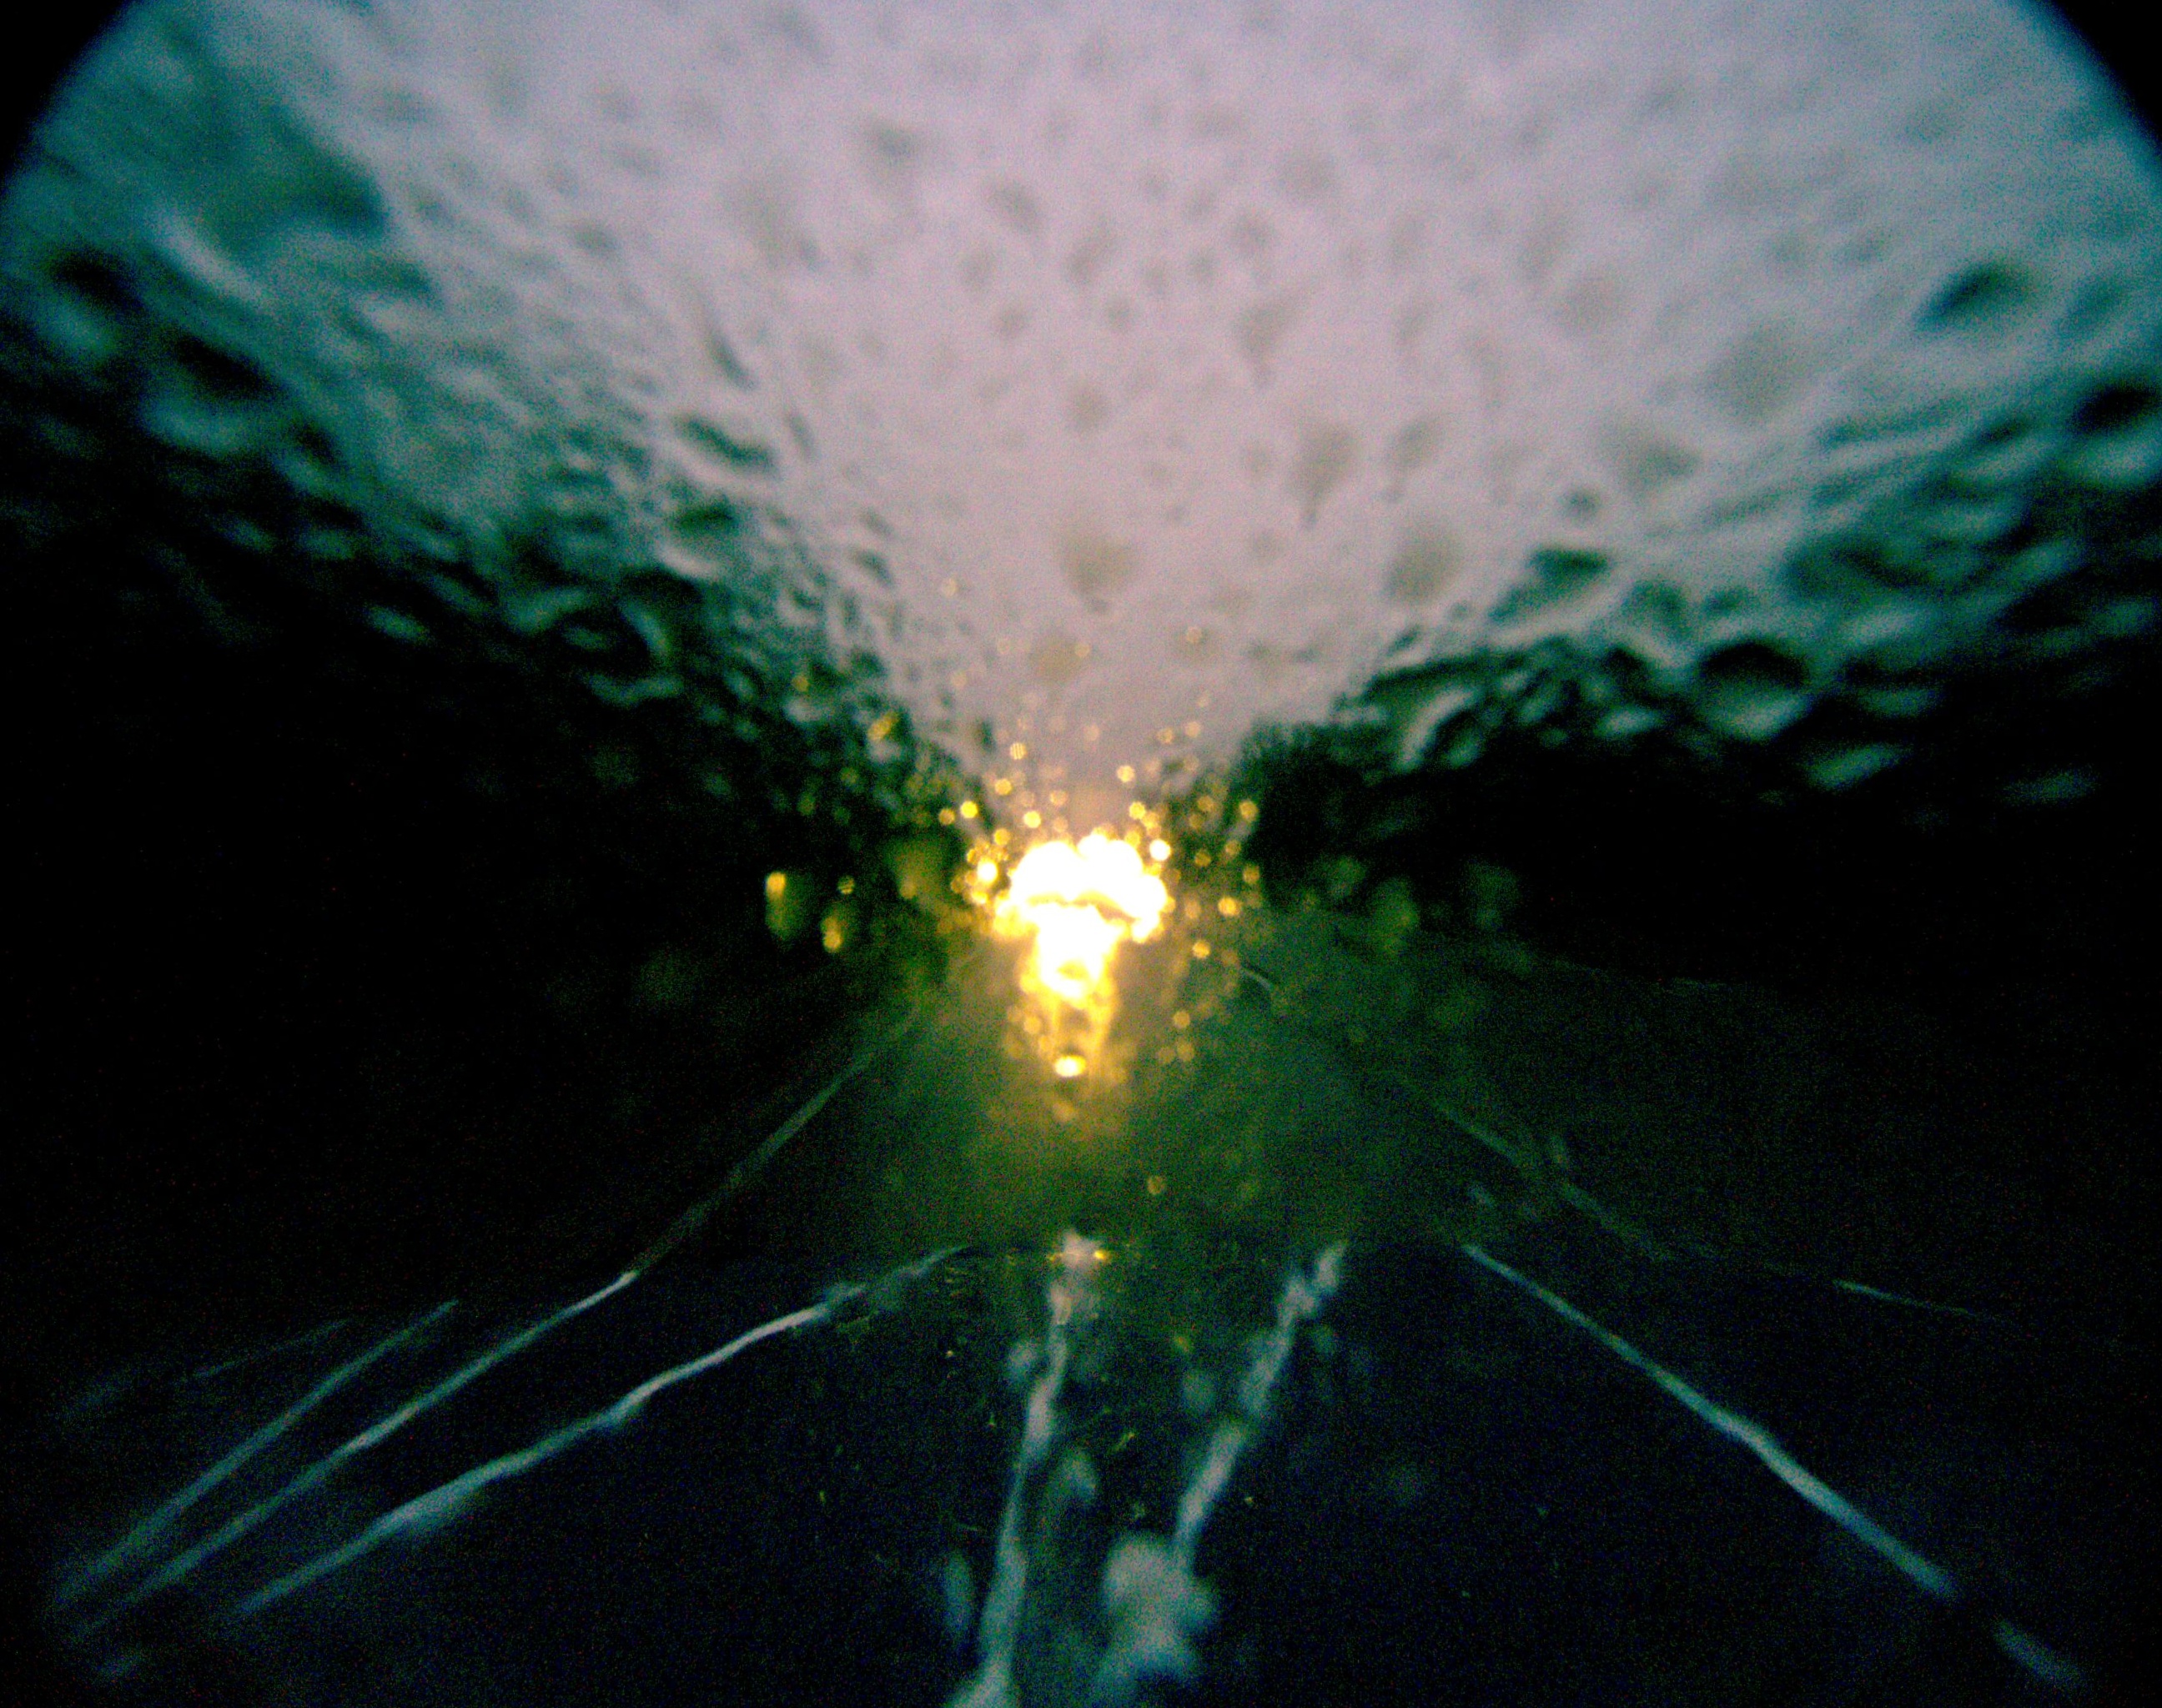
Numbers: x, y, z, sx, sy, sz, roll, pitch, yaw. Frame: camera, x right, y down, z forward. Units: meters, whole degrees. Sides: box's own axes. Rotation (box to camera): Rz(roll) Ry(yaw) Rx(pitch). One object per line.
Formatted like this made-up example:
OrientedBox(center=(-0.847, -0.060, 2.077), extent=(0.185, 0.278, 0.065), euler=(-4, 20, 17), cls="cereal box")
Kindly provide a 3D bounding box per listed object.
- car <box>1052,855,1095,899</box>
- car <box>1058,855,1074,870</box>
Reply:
OrientedBox(center=(-0.256, 0.912, 32.082), extent=(1.573, 1.701, 4.001), euler=(-1, 0, 3), cls="car")
OrientedBox(center=(-2.006, 1.096, 100.175), extent=(1.999, 1.752, 4.370), euler=(-5, 0, -2), cls="car")
